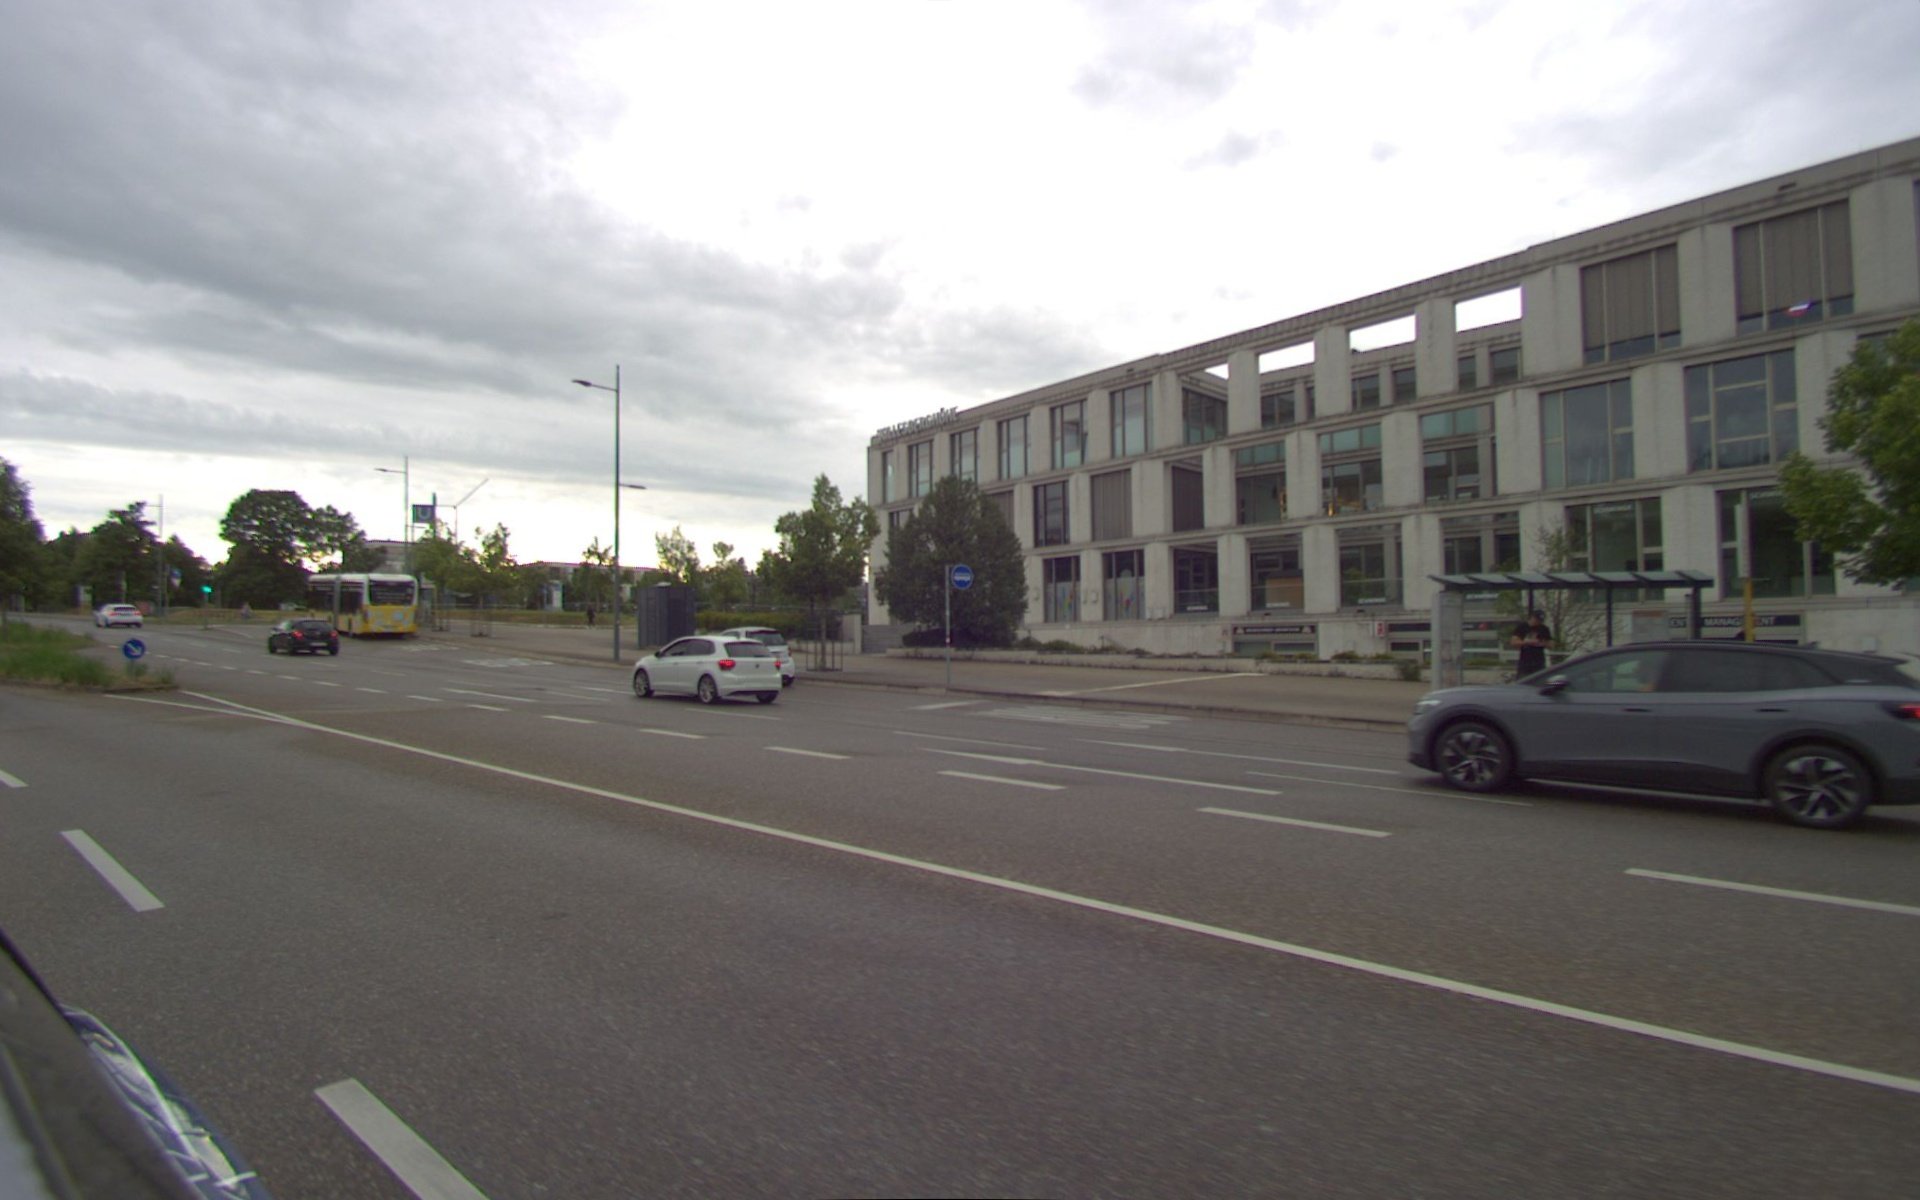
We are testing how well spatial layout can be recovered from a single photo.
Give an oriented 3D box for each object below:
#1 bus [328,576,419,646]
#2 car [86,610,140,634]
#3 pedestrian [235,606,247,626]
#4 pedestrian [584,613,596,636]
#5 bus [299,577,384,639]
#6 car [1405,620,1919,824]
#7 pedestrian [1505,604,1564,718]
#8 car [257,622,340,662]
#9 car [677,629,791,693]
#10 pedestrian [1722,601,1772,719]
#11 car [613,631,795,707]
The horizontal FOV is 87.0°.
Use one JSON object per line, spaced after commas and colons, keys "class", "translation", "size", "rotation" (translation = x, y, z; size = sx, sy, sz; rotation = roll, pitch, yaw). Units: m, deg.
{"class": "bus", "translation": [-31.751, 0.502, 54.590], "size": [2.786, 3.498, 8.244], "rotation": [0, 1, -41]}
{"class": "car", "translation": [-53.397, 1.378, 63.794], "size": [4.512, 1.429, 1.972], "rotation": [0, -1, 42]}
{"class": "pedestrian", "translation": [-59.565, 1.348, 83.883], "size": [0.811, 1.606, 0.608], "rotation": [-3, -2, 37]}
{"class": "pedestrian", "translation": [-24.500, 1.611, 66.971], "size": [0.663, 1.541, 0.485], "rotation": [-3, -2, 36]}
{"class": "bus", "translation": [-37.725, 0.367, 61.531], "size": [2.786, 3.498, 9.990], "rotation": [0, 1, -41]}
{"class": "car", "translation": [7.054, 1.056, 9.923], "size": [4.592, 1.584, 1.812], "rotation": [0, -4, 42]}
{"class": "pedestrian", "translation": [9.610, 1.009, 16.931], "size": [0.755, 1.856, 0.502], "rotation": [-1, -2, 41]}
{"class": "car", "translation": [-26.585, 1.669, 40.614], "size": [3.866, 1.473, 1.827], "rotation": [0, -2, 42]}
{"class": "car", "translation": [-6.133, 1.597, 27.322], "size": [2.972, 1.519, 1.596], "rotation": [0, 0, 42]}
{"class": "pedestrian", "translation": [12.804, 0.963, 16.466], "size": [0.606, 1.870, 0.574], "rotation": [-1, -2, 39]}
{"class": "car", "translation": [-5.715, 1.484, 22.355], "size": [4.175, 1.441, 1.853], "rotation": [0, -4, 42]}
